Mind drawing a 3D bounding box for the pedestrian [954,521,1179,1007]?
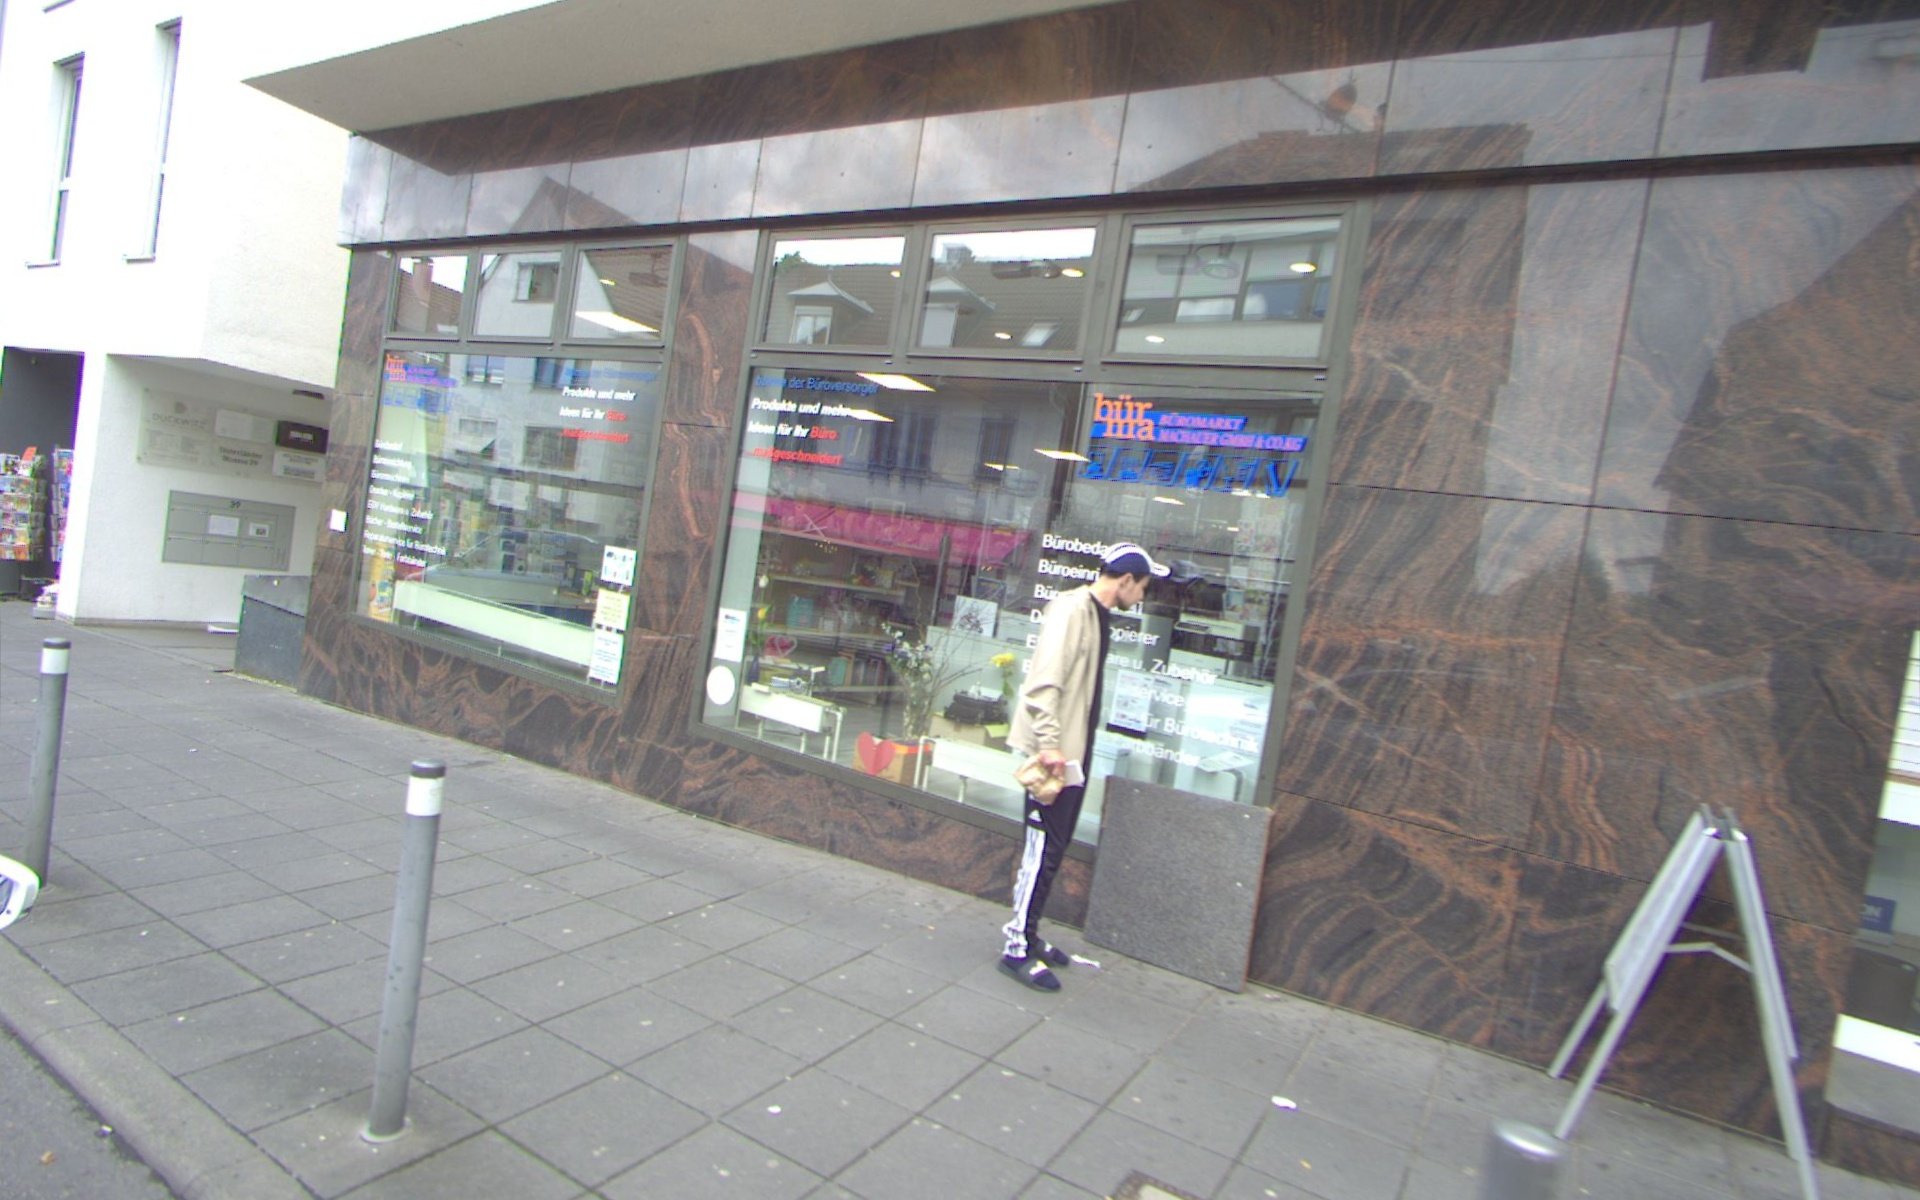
[{"bbox_3d":[0.435,0.585,3.976,0.533,1.713,0.663,7,4,26],"label":"pedestrian"}]
